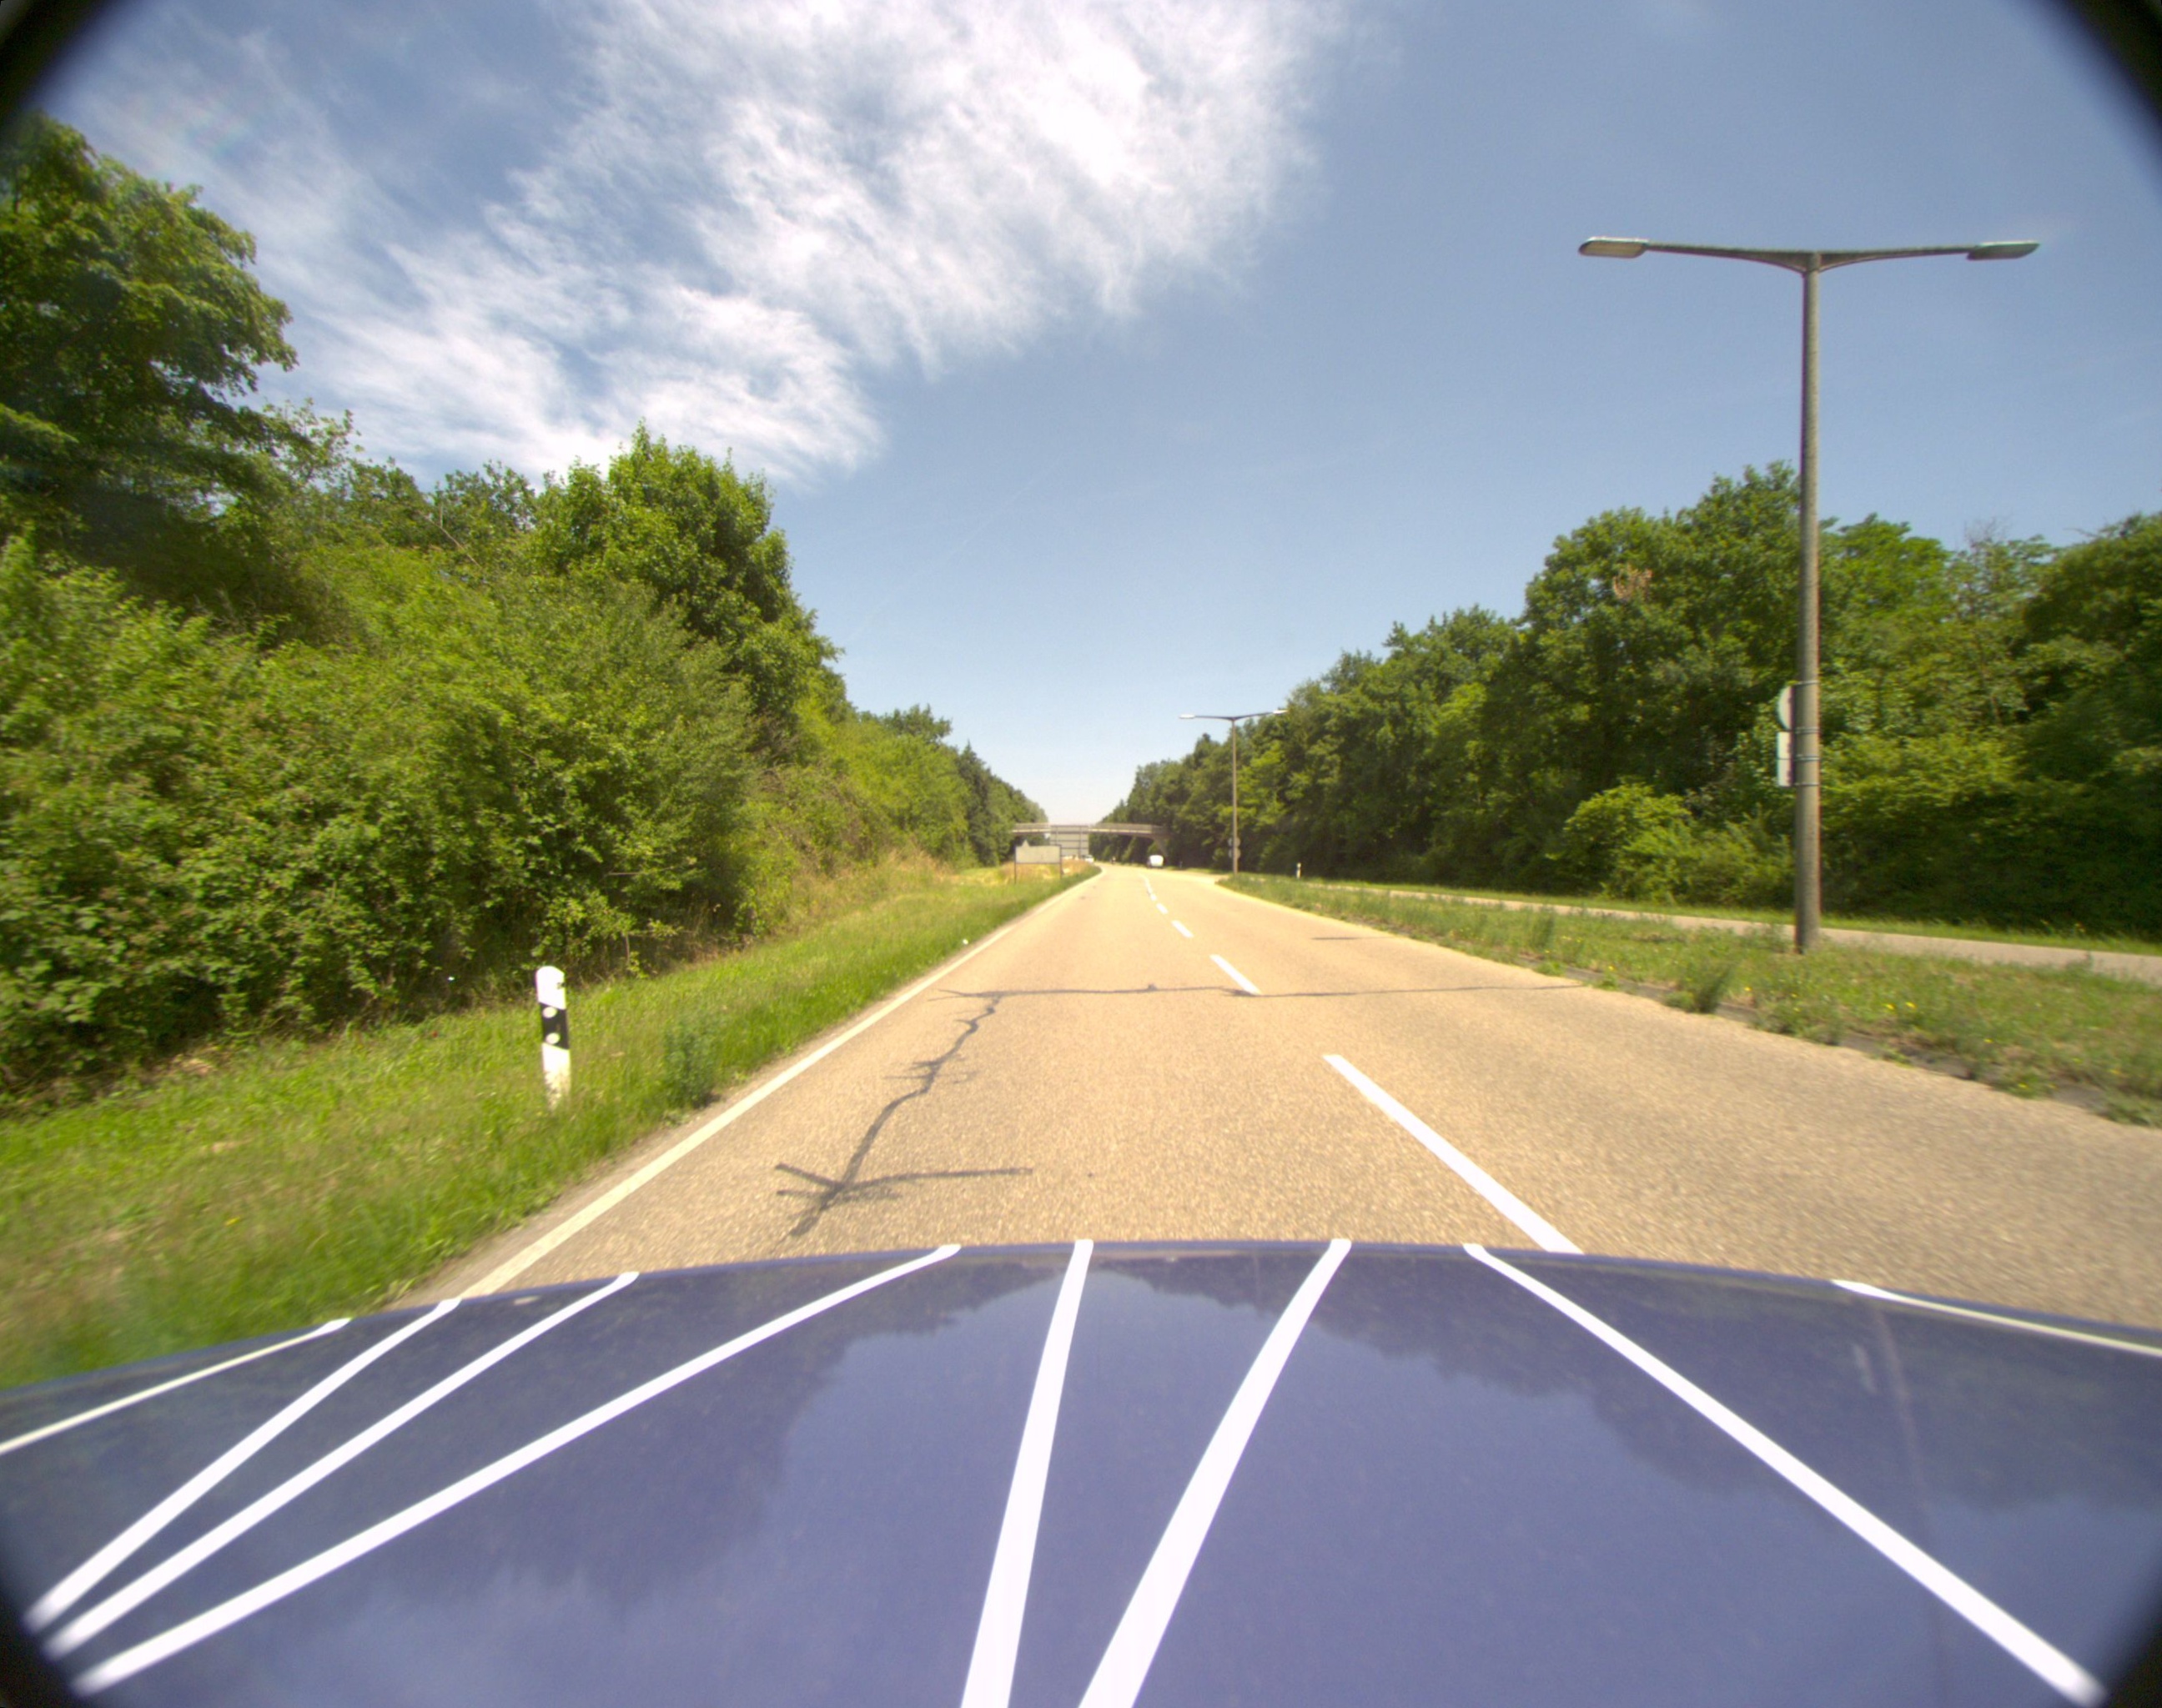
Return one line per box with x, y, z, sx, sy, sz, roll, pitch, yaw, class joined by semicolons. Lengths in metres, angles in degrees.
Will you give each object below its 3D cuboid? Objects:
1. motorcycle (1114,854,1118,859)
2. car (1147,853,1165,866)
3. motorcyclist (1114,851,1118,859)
7.125;0.506;155.173;0.672;1.167;2.230;1;0;-4;motorcycle
10.020;0.706;101.191;1.736;1.678;4.094;2;0;-3;car
7.114;0.227;155.130;0.672;1.467;0.813;1;1;-5;motorcyclist
